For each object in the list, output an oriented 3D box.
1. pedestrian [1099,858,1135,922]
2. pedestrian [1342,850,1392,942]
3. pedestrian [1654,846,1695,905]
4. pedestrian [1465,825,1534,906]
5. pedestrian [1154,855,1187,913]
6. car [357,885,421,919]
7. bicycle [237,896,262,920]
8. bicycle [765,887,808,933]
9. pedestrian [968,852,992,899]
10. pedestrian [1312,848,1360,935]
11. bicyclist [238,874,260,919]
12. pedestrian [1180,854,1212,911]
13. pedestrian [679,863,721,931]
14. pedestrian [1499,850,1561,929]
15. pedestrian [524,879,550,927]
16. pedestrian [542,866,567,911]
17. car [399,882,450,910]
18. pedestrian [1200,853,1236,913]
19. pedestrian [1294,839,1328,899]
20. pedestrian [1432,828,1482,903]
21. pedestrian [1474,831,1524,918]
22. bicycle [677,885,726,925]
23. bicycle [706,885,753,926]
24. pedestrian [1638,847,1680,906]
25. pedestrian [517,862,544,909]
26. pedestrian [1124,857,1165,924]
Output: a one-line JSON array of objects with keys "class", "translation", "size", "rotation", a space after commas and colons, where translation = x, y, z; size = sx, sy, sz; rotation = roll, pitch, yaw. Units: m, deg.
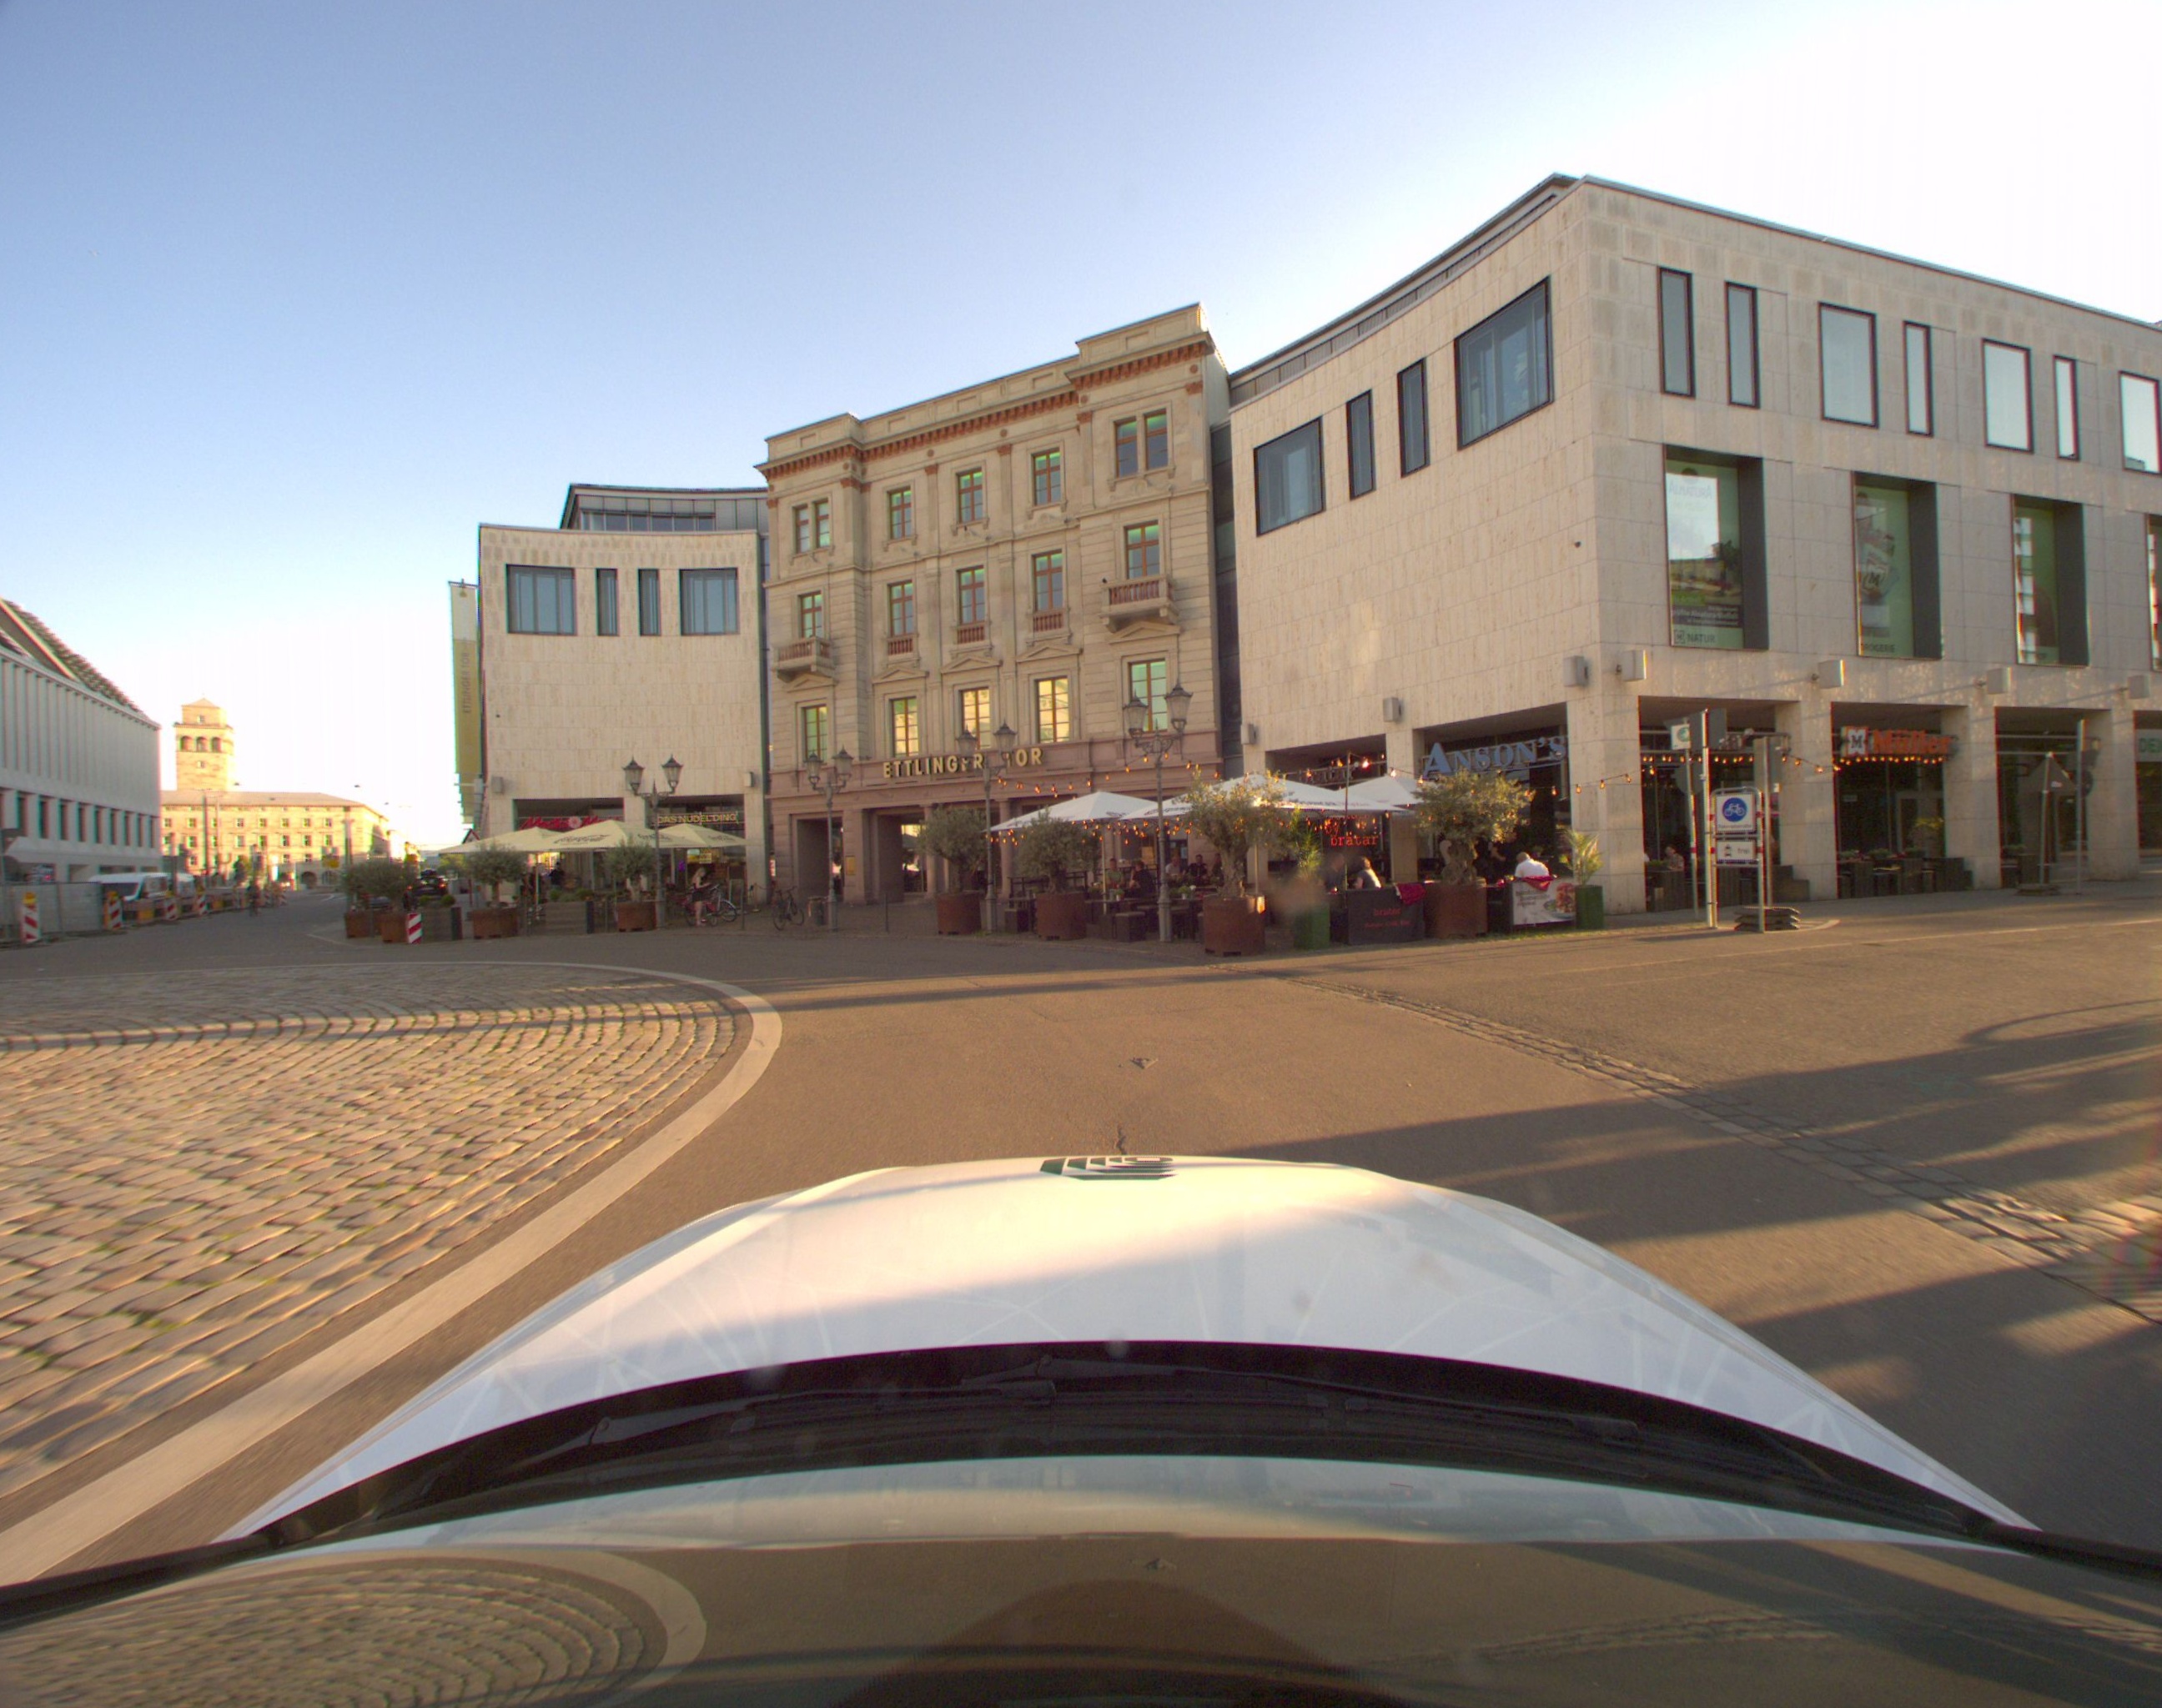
[{"class": "pedestrian", "translation": [0.868, 0.843, 19.468], "size": [0.548, 1.478, 0.617], "rotation": [-2, 0, -36]}, {"class": "pedestrian", "translation": [4.762, 0.685, 13.576], "size": [0.529, 1.478, 0.559], "rotation": [-2, 0, -17]}, {"class": "pedestrian", "translation": [11.911, 0.430, 16.342], "size": [0.500, 1.156, 0.466], "rotation": [-2, 0, -28]}, {"class": "pedestrian", "translation": [8.888, 0.229, 17.305], "size": [0.933, 1.647, 0.860], "rotation": [-2, 0, -25]}, {"class": "pedestrian", "translation": [2.352, 0.787, 21.424], "size": [0.593, 1.478, 0.619], "rotation": [-2, 0, -26]}, {"class": "car", "translation": [-34.012, 2.331, 40.134], "size": [2.009, 1.464, 3.956], "rotation": [-2, 0, -35]}, {"class": "bicycle", "translation": [-42.807, 2.753, 41.945], "size": [0.604, 1.138, 1.735], "rotation": [-2, 0, -36]}, {"class": "bicycle", "translation": [-7.560, 1.416, 20.945], "size": [0.505, 1.031, 1.645], "rotation": [-2, 0, -1]}, {"class": "pedestrian", "translation": [-3.753, 0.796, 30.144], "size": [0.616, 1.728, 0.549], "rotation": [-2, 0, 28]}, {"class": "pedestrian", "translation": [4.490, 0.646, 14.358], "size": [0.529, 1.478, 0.559], "rotation": [-2, 0, -18]}, {"class": "bicyclist", "translation": [-42.819, 2.183, 41.930], "size": [0.604, 2.242, 0.795], "rotation": [-2, 0, -36]}, {"class": "pedestrian", "translation": [3.076, 0.757, 21.868], "size": [0.546, 1.478, 0.619], "rotation": [-2, 0, -26]}, {"class": "pedestrian", "translation": [-10.240, 1.128, 21.866], "size": [0.910, 1.728, 0.842], "rotation": [-2, 0, -29]}, {"class": "pedestrian", "translation": [7.724, 0.594, 14.028], "size": [0.549, 1.310, 0.720], "rotation": [-2, 0, -18]}, {"class": "pedestrian", "translation": [-16.508, 1.483, 24.717], "size": [0.508, 1.398, 0.492], "rotation": [-2, 0, -22]}, {"class": "pedestrian", "translation": [-21.476, 1.398, 33.204], "size": [0.714, 1.787, 0.637], "rotation": [-2, 0, -44]}, {"class": "car", "translation": [-38.277, 2.411, 47.552], "size": [2.009, 1.464, 3.956], "rotation": [-2, 0, -35]}, {"class": "pedestrian", "translation": [3.524, 0.738, 20.970], "size": [0.616, 1.478, 0.628], "rotation": [-2, 0, 43]}, {"class": "pedestrian", "translation": [6.722, 0.421, 23.798], "size": [0.622, 1.721, 0.685], "rotation": [-2, 1, -41]}, {"class": "pedestrian", "translation": [8.502, 0.245, 18.434], "size": [0.697, 1.647, 0.686], "rotation": [-2, 0, -26]}, {"class": "pedestrian", "translation": [8.855, 0.419, 17.259], "size": [0.554, 1.792, 0.716], "rotation": [-2, 0, -35]}, {"class": "bicycle", "translation": [-10.842, 1.448, 23.324], "size": [0.598, 1.031, 1.645], "rotation": [-2, 0, -1]}, {"class": "bicycle", "translation": [-10.076, 1.455, 23.384], "size": [0.617, 1.031, 1.645], "rotation": [-2, 0, -1]}, {"class": "pedestrian", "translation": [11.236, 0.438, 15.839], "size": [0.544, 1.111, 0.539], "rotation": [-2, 0, 26]}, {"class": "pedestrian", "translation": [-22.040, 1.255, 32.611], "size": [0.689, 1.816, 0.642], "rotation": [-2, 0, 36]}, {"class": "pedestrian", "translation": [1.457, 0.824, 18.688], "size": [0.591, 1.478, 0.676], "rotation": [-2, 0, -34]}]
